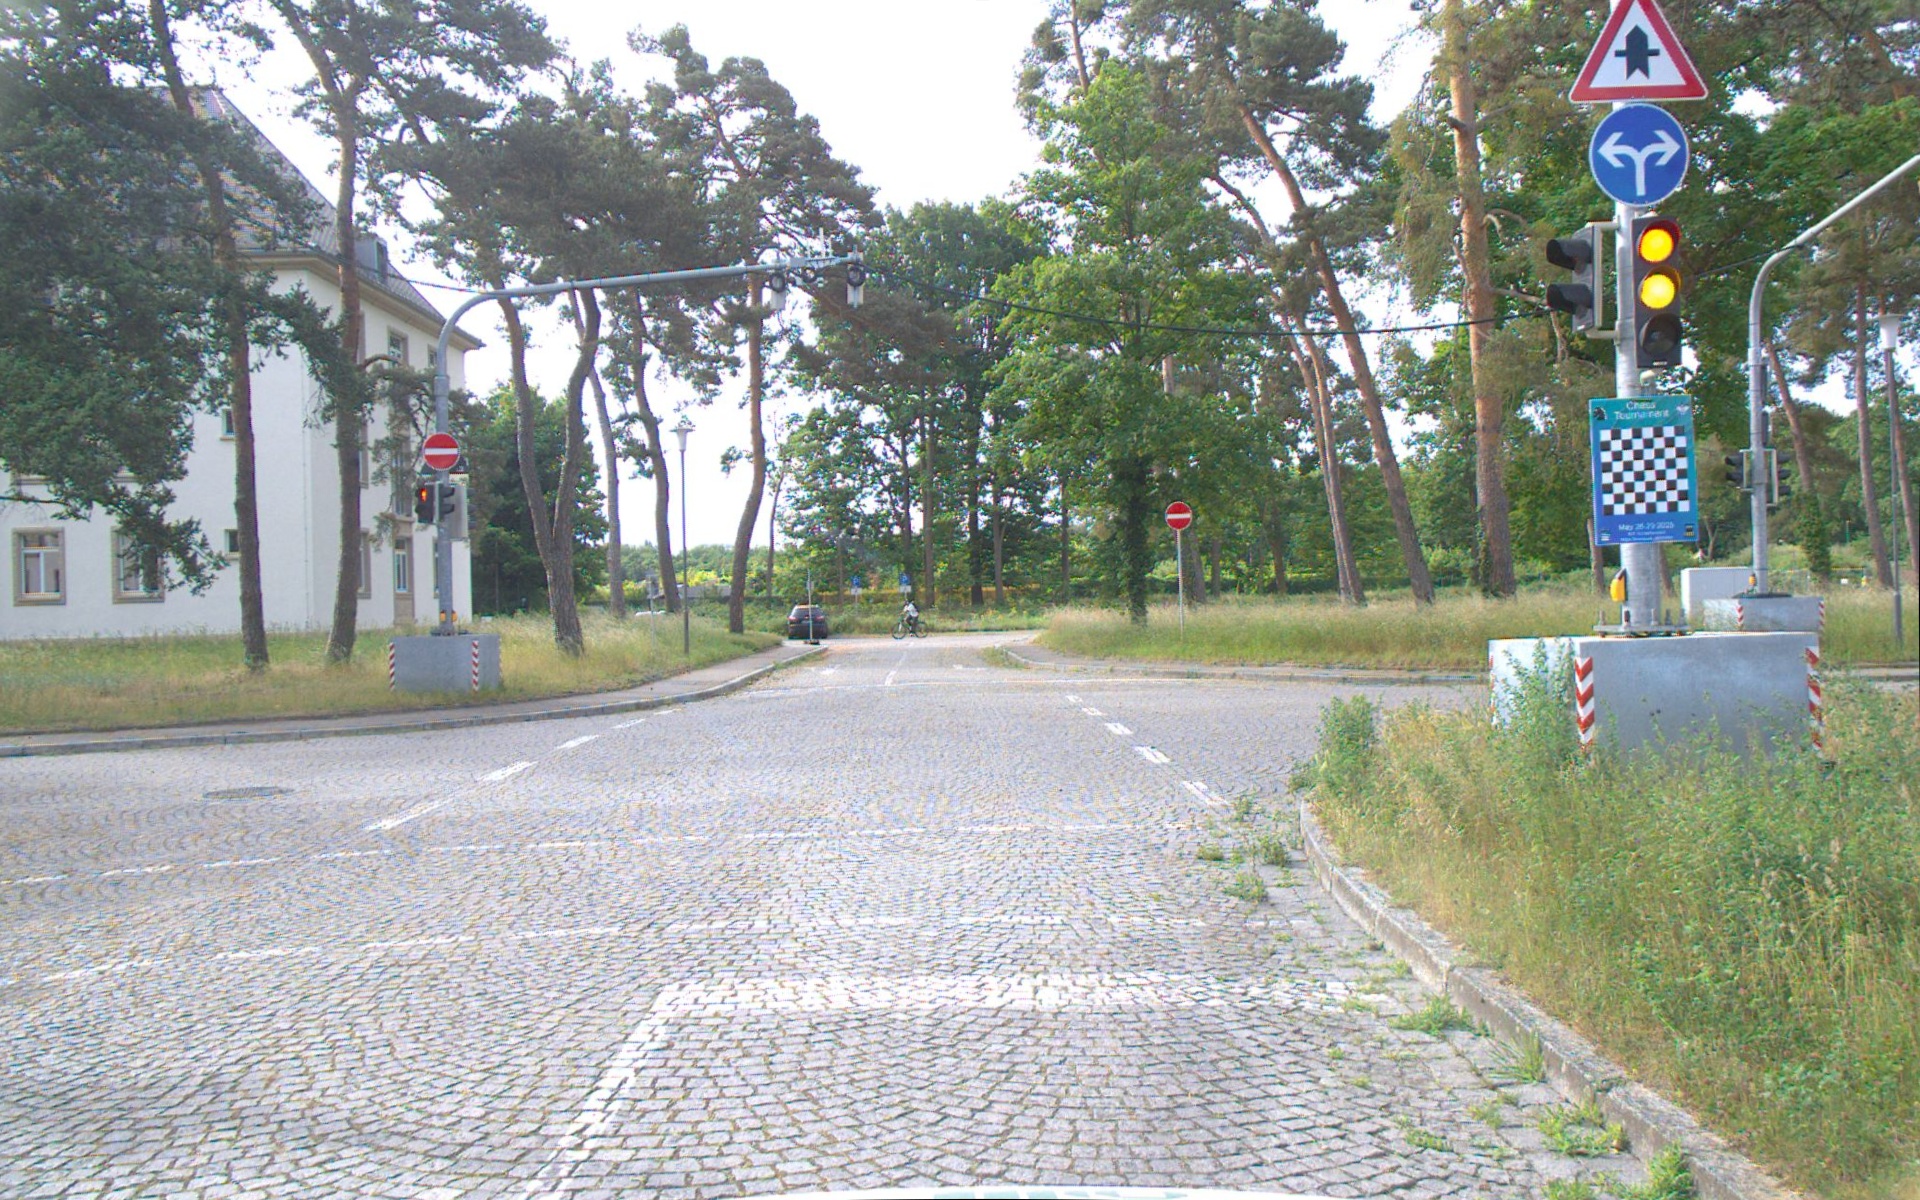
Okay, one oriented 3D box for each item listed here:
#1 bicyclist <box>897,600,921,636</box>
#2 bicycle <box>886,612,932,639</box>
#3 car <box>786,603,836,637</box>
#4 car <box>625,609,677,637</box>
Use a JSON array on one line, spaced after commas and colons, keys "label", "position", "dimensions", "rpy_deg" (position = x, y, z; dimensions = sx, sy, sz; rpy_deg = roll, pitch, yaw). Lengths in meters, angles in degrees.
[{"label": "bicyclist", "position": [-2.239, 0.800, 72.480], "dimensions": [0.955, 1.537, 0.807], "rpy_deg": [-2, 0, -4]}, {"label": "bicycle", "position": [-2.222, 1.128, 72.483], "dimensions": [1.948, 1.114, 0.809], "rpy_deg": [-2, 0, -5]}, {"label": "car", "position": [-6.944, 0.931, 77.449], "dimensions": [1.953, 1.534, 4.000], "rpy_deg": [0, 0, 0]}, {"label": "car", "position": [-14.593, 1.070, 78.199], "dimensions": [1.654, 1.176, 4.000], "rpy_deg": [-2, 0, 0]}]
